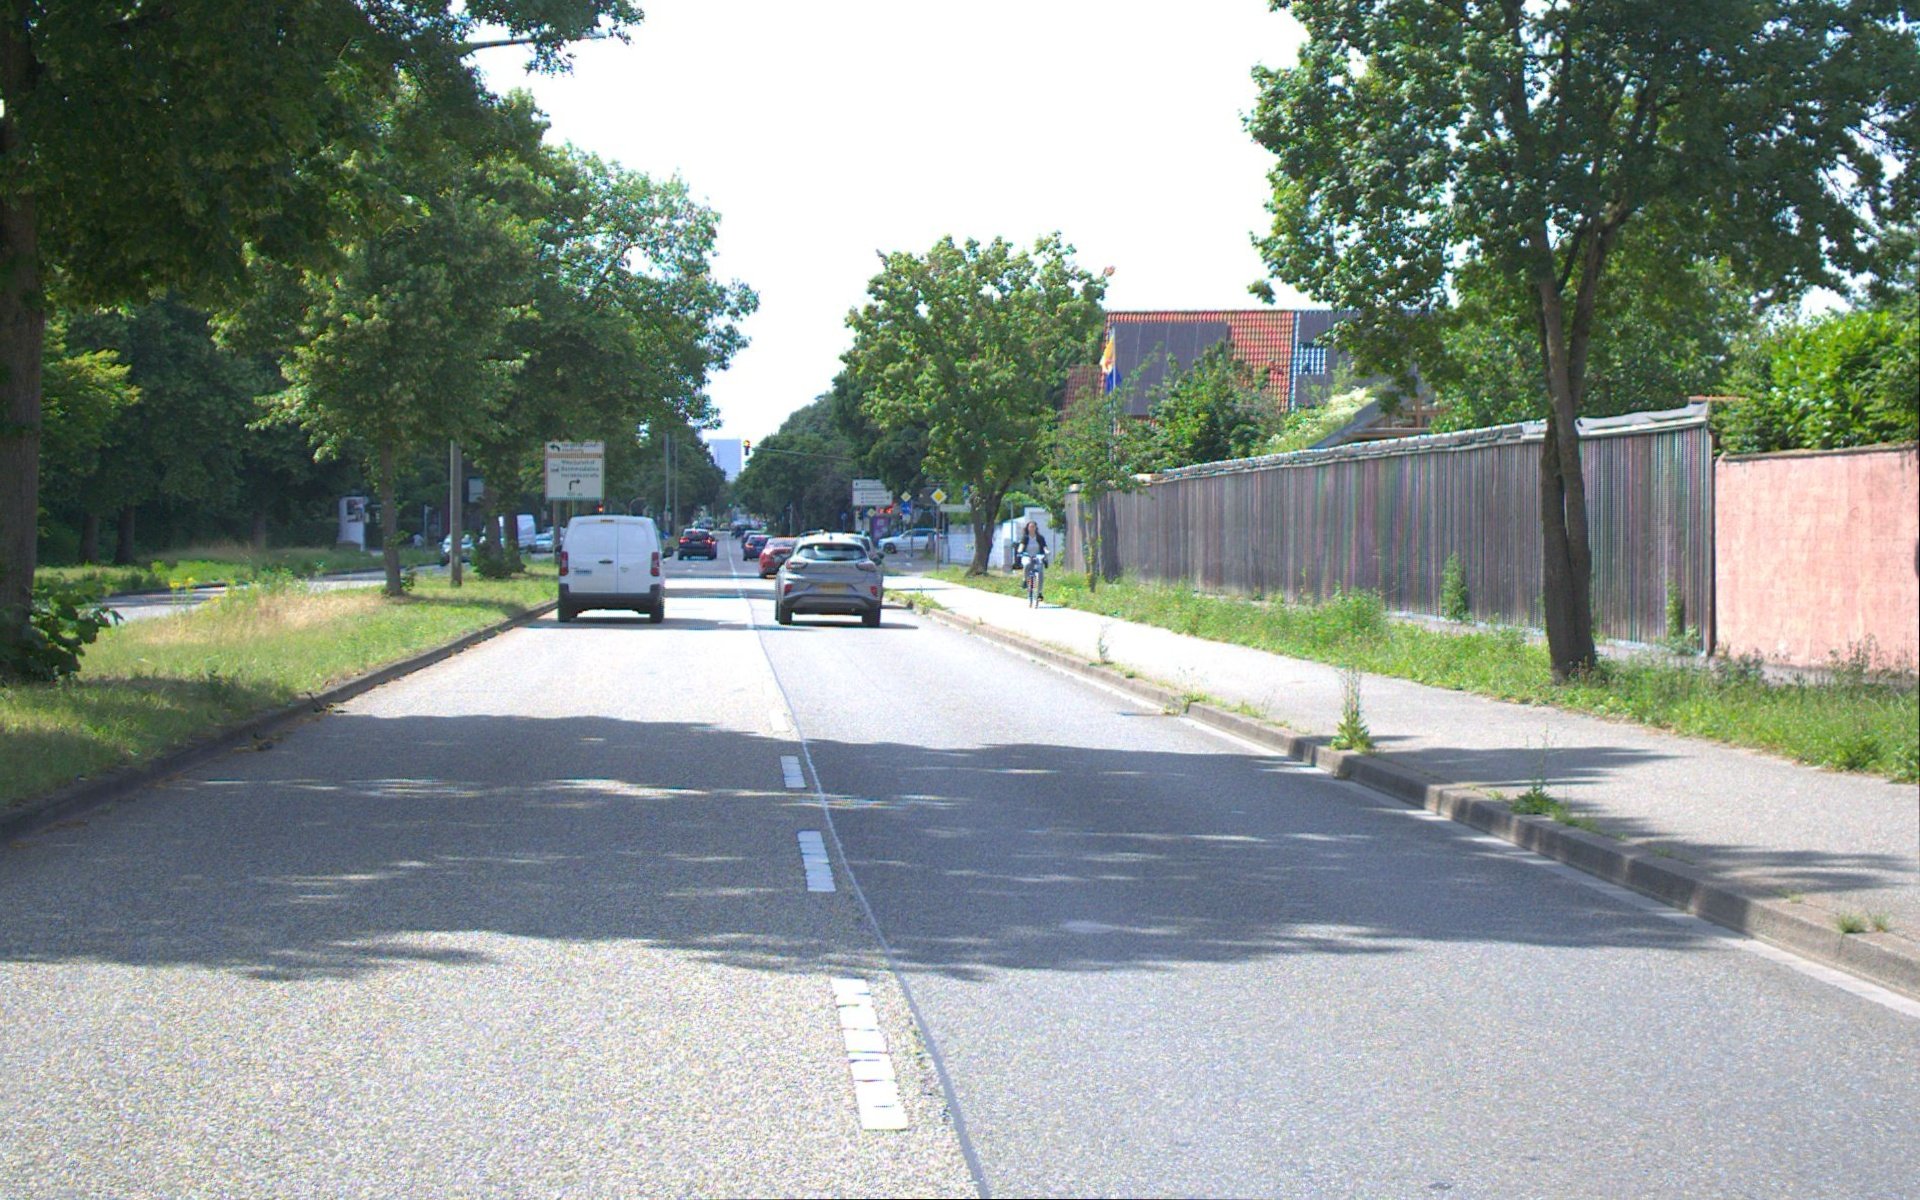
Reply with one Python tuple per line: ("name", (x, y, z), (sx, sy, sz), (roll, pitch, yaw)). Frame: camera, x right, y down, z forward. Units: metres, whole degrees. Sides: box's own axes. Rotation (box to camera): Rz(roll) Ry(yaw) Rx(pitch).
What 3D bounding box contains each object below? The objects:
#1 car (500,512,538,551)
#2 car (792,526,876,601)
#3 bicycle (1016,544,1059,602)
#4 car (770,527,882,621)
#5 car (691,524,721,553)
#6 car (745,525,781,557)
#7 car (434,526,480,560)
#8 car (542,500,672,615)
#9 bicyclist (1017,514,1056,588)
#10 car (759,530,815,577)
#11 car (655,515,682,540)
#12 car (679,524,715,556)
("car", (-28.136, -4.365, 219.598), (2.045, 2.423, 5.251), (0, 1, -3))
("car", (-2.859, -0.844, 77.494), (1.779, 1.637, 4.197), (0, 1, -3))
("bicycle", (1.504, -0.534, 66.983), (0.646, 1.064, 2.279), (-2, 1, -3))
("car", (-2.391, -0.479, 60.367), (1.875, 1.583, 4.185), (0, 1, -3))
("car", (-15.255, -3.699, 206.593), (1.779, 1.761, 4.169), (0, 1, -3))
("car", (-11.343, -3.411, 197.501), (1.993, 1.766, 4.148), (2, 1, -4))
("car", (-25.966, -2.938, 177.587), (1.993, 1.700, 4.194), (0, 1, -3))
("car", (-6.129, -0.773, 60.107), (2.065, 1.905, 4.647), (1, 1, -4))
("bicyclist", (1.487, -0.957, 67.020), (0.654, 1.407, 0.986), (-2, 1, -3))
("car", (-6.012, -1.623, 119.397), (1.880, 1.581, 4.001), (1, 1, -4))
("car", (-21.160, -5.264, 249.654), (1.779, 1.761, 4.151), (0, 1, -3))
("car", (-15.023, -3.441, 196.558), (1.941, 1.761, 4.147), (0, 1, -3))
